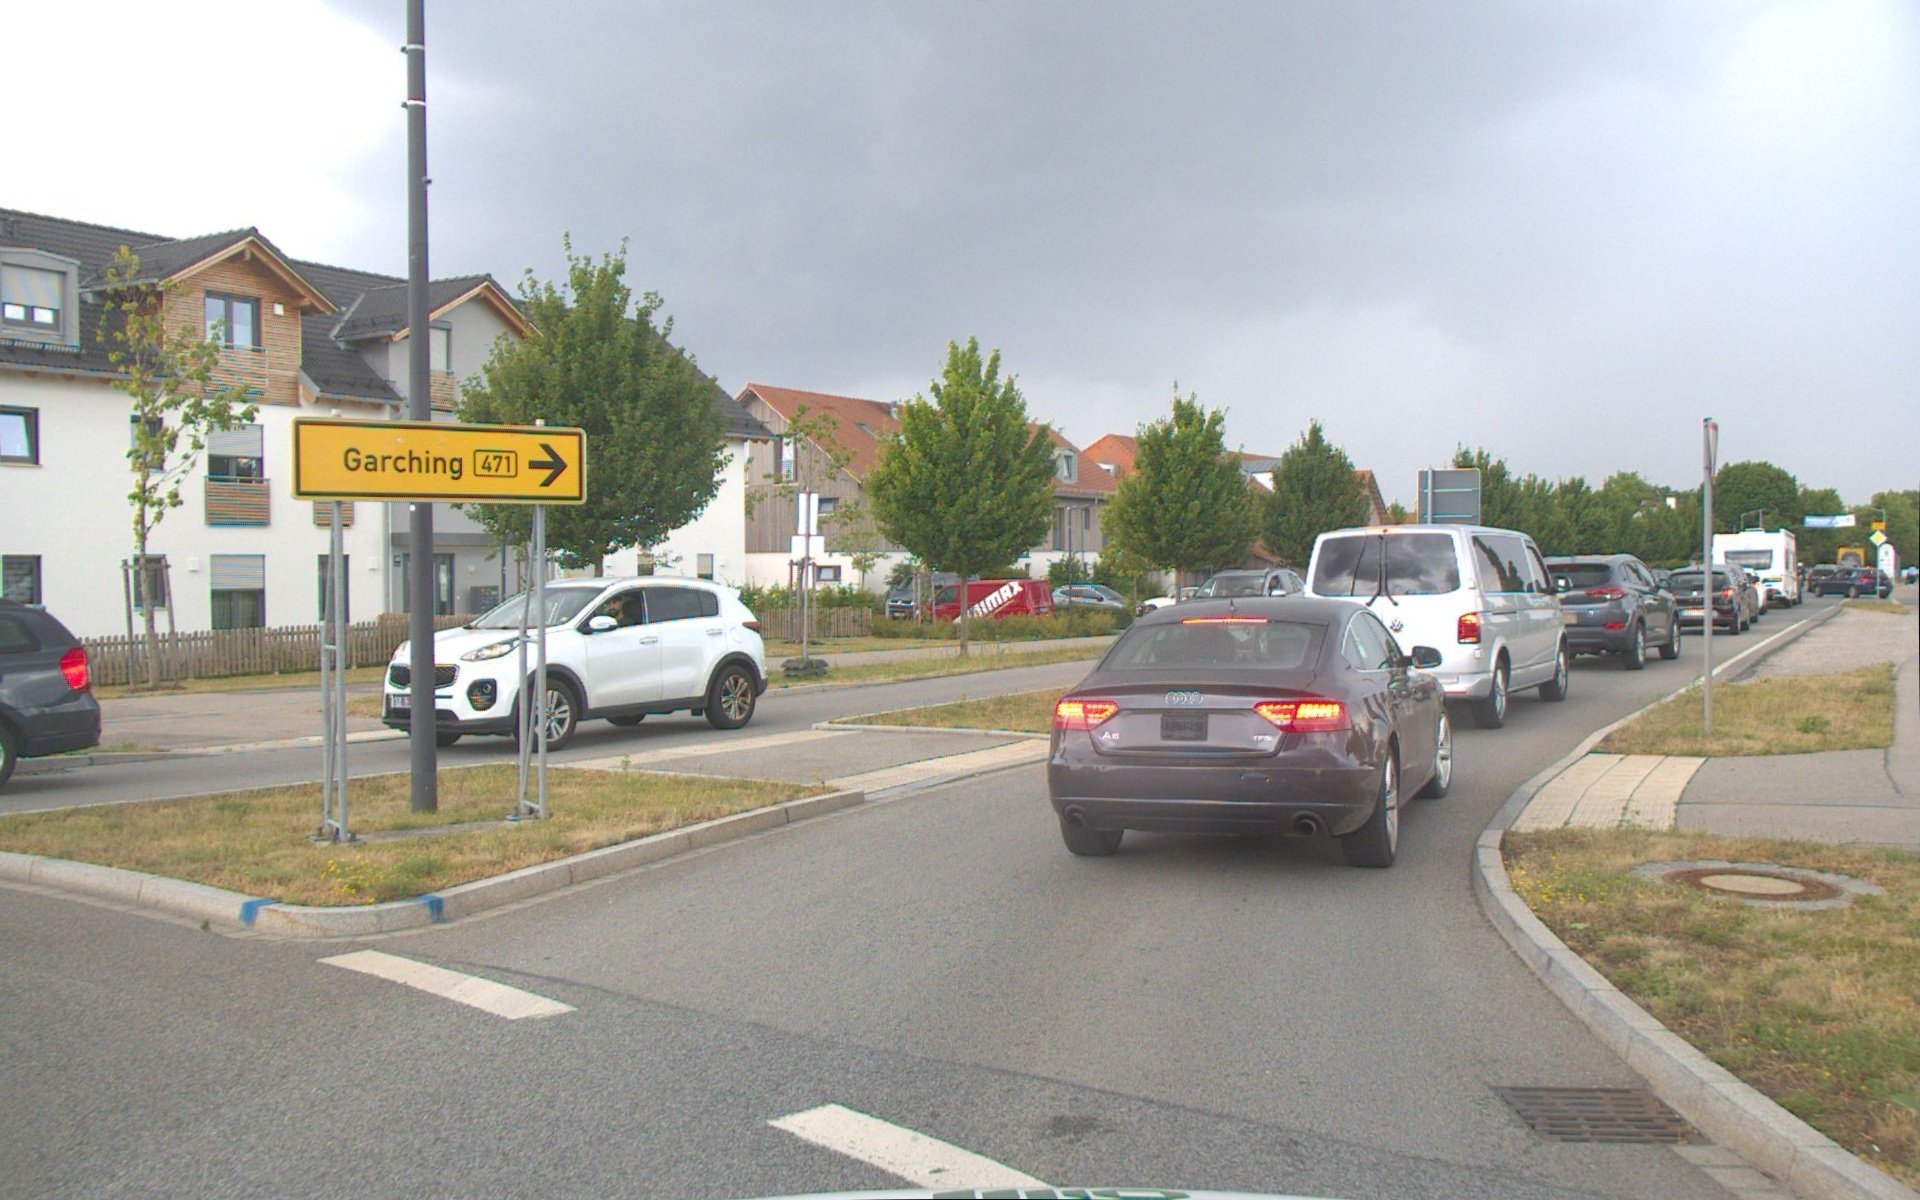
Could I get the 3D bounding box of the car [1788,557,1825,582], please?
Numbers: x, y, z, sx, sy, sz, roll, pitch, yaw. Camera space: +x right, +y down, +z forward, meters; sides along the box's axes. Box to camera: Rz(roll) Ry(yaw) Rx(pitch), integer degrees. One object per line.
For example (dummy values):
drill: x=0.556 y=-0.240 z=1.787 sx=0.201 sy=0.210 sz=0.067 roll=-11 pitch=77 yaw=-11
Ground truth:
car: x=50.672 y=-1.823 z=98.970 sx=1.810 sy=1.461 sz=3.993 roll=1 pitch=2 yaw=29

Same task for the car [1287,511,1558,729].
car: x=4.891 y=0.147 z=17.115 sx=1.832 sy=1.968 sz=3.994 roll=0 pitch=1 yaw=29

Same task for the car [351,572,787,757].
car: x=-3.879 y=0.577 z=17.171 sx=1.679 sy=1.654 sz=4.437 roll=-2 pitch=0 yaw=34

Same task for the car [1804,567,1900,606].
car: x=42.970 y=-0.654 z=79.743 sx=1.592 sy=1.825 sz=3.972 roll=0 pitch=1 yaw=-23

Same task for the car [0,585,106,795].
car: x=-8.865 y=0.705 z=12.211 sx=4.246 sy=1.591 sz=1.745 roll=-1 pitch=0 yaw=-44

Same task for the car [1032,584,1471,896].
car: x=1.948 y=0.625 z=9.881 sx=1.747 sy=1.416 sz=4.132 roll=0 pitch=1 yaw=22

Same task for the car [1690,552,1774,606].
car: x=23.997 y=-0.646 z=51.342 sx=1.957 sy=1.624 sz=3.991 roll=0 pitch=1 yaw=31

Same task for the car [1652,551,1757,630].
car: x=16.482 y=-0.220 z=36.528 sx=1.743 sy=1.646 sz=3.993 roll=-1 pitch=1 yaw=30

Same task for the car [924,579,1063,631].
car: x=1.137 y=0.142 z=56.976 sx=4.451 sy=1.709 sz=1.994 roll=1 pitch=1 yaw=34

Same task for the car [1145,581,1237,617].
car: x=10.147 y=-0.055 z=72.671 sx=3.657 sy=1.507 sz=1.685 roll=0 pitch=2 yaw=28

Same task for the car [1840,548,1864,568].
car: x=99.609 y=-4.720 z=184.691 sx=1.959 sy=2.250 sz=3.988 roll=0 pitch=2 yaw=34

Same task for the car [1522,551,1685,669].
car: x=9.893 y=0.103 z=25.266 sx=1.743 sy=1.646 sz=3.992 roll=0 pitch=1 yaw=30

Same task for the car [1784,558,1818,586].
car: x=59.314 y=-1.969 z=116.623 sx=1.956 sy=1.932 sz=3.993 roll=1 pitch=2 yaw=29

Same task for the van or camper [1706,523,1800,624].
van or camper: x=28.381 y=-0.913 z=59.046 sx=2.575 sy=3.381 sz=6.809 roll=0 pitch=1 yaw=29

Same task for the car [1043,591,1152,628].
car: x=5.358 y=0.347 z=64.386 sx=3.840 sy=1.338 sz=1.840 roll=1 pitch=1 yaw=28

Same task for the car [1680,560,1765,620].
car: x=19.656 y=-0.268 z=42.556 sx=1.743 sy=1.459 sz=3.796 roll=-1 pitch=1 yaw=28

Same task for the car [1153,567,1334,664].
car: x=5.762 y=0.287 z=33.167 sx=1.958 sy=1.733 sz=4.623 roll=3 pitch=1 yaw=32

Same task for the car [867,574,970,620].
car: x=-1.663 y=-0.150 z=67.272 sx=1.959 sy=1.803 sz=4.450 roll=0 pitch=1 yaw=35
